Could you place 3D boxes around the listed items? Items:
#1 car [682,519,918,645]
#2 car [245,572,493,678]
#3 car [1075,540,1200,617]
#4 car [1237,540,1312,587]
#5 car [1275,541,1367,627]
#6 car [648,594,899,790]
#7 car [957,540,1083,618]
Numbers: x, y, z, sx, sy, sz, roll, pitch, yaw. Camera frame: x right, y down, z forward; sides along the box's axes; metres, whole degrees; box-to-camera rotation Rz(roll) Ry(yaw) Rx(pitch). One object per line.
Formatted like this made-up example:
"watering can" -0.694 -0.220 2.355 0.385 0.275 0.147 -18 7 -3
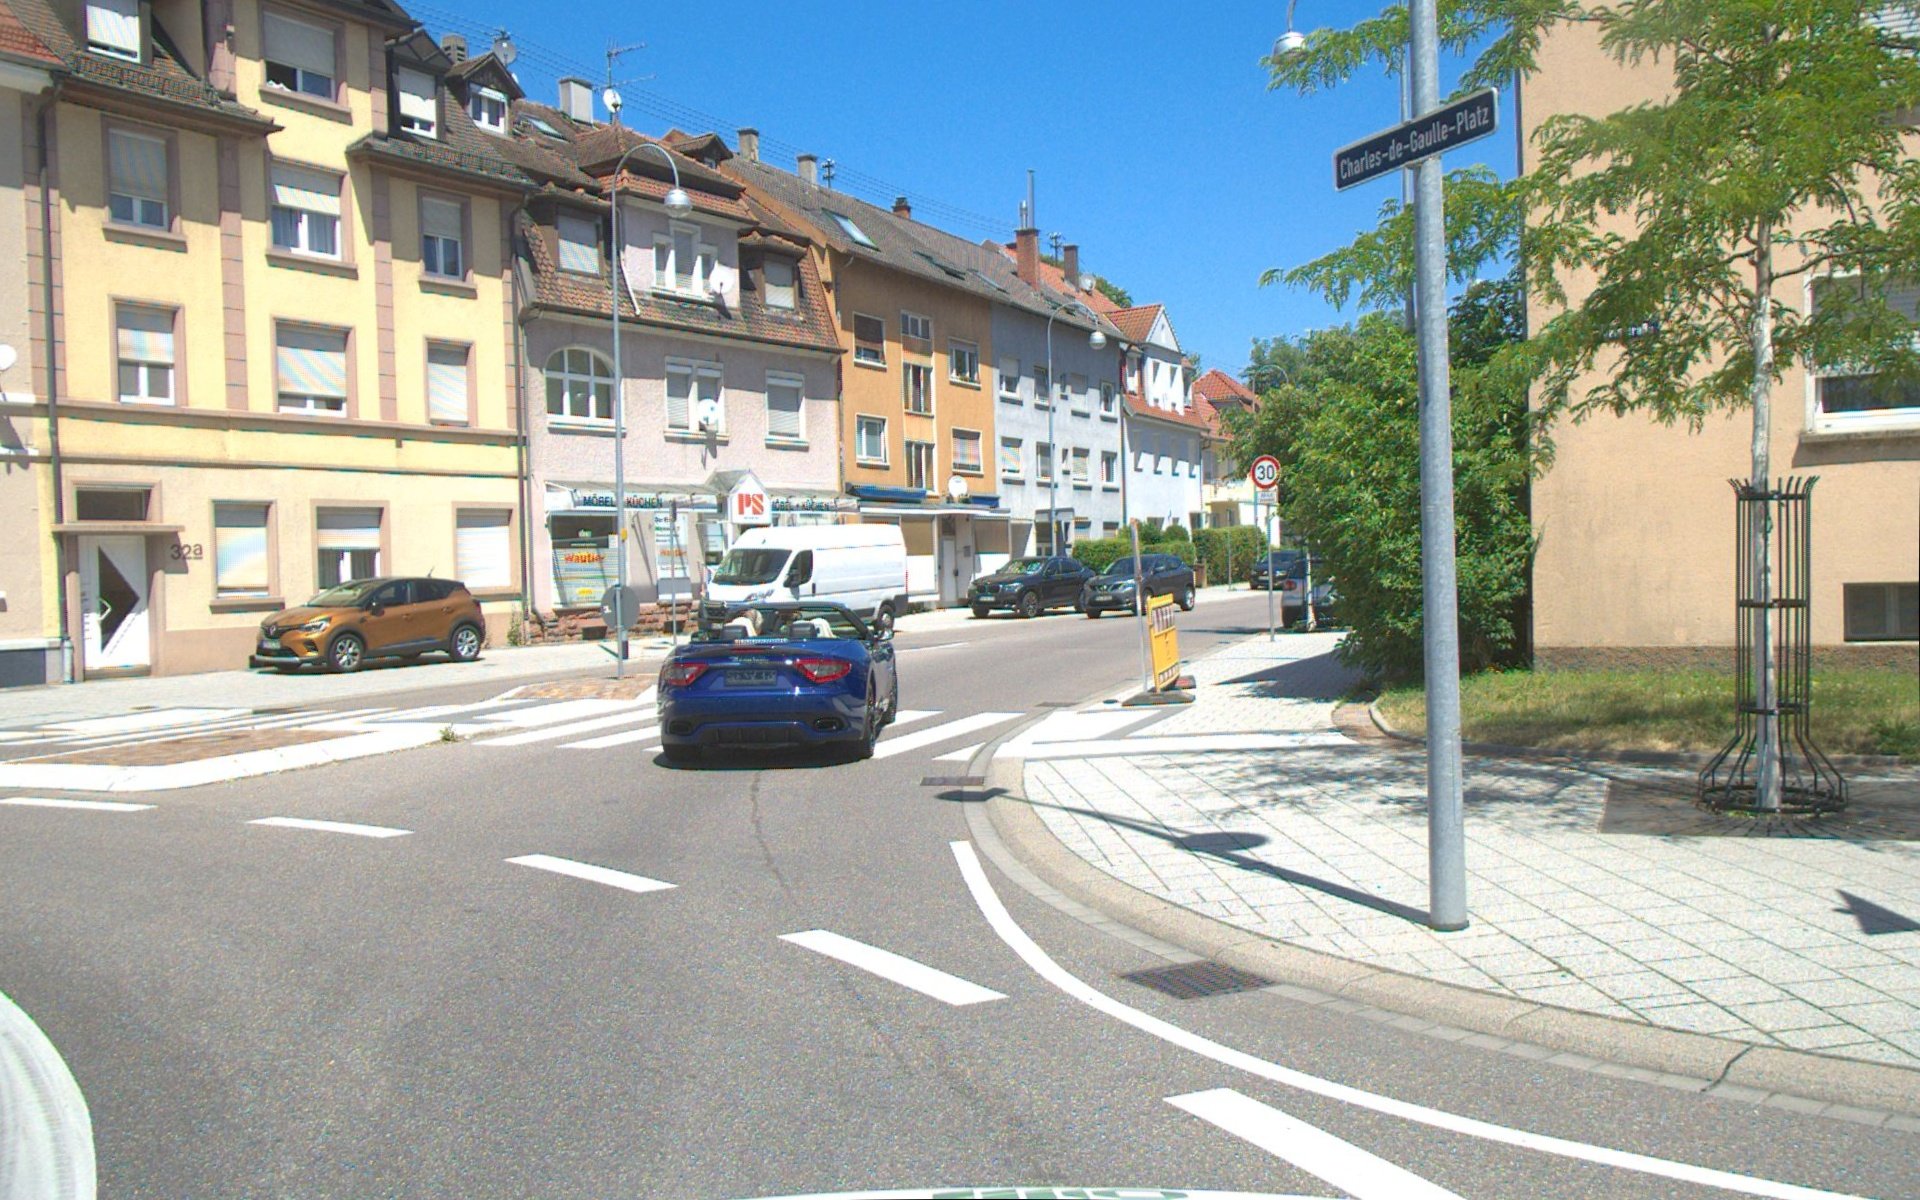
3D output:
"car" -3.445 -0.490 37.175 2.104 2.576 6.228 1 2 29
"car" -10.422 0.372 29.453 1.570 1.644 4.082 1 3 32
"car" 4.835 -0.612 44.541 1.954 1.846 4.210 -4 0 26
"car" 12.242 -1.436 64.214 1.805 1.735 3.799 -2 1 27
"car" 7.915 -0.387 36.041 1.839 1.659 3.595 -1 3 14
"car" -1.610 0.777 15.809 1.832 1.557 4.506 -1 -1 0
"car" 1.730 -0.614 46.407 2.027 2.048 3.997 -2 1 26
